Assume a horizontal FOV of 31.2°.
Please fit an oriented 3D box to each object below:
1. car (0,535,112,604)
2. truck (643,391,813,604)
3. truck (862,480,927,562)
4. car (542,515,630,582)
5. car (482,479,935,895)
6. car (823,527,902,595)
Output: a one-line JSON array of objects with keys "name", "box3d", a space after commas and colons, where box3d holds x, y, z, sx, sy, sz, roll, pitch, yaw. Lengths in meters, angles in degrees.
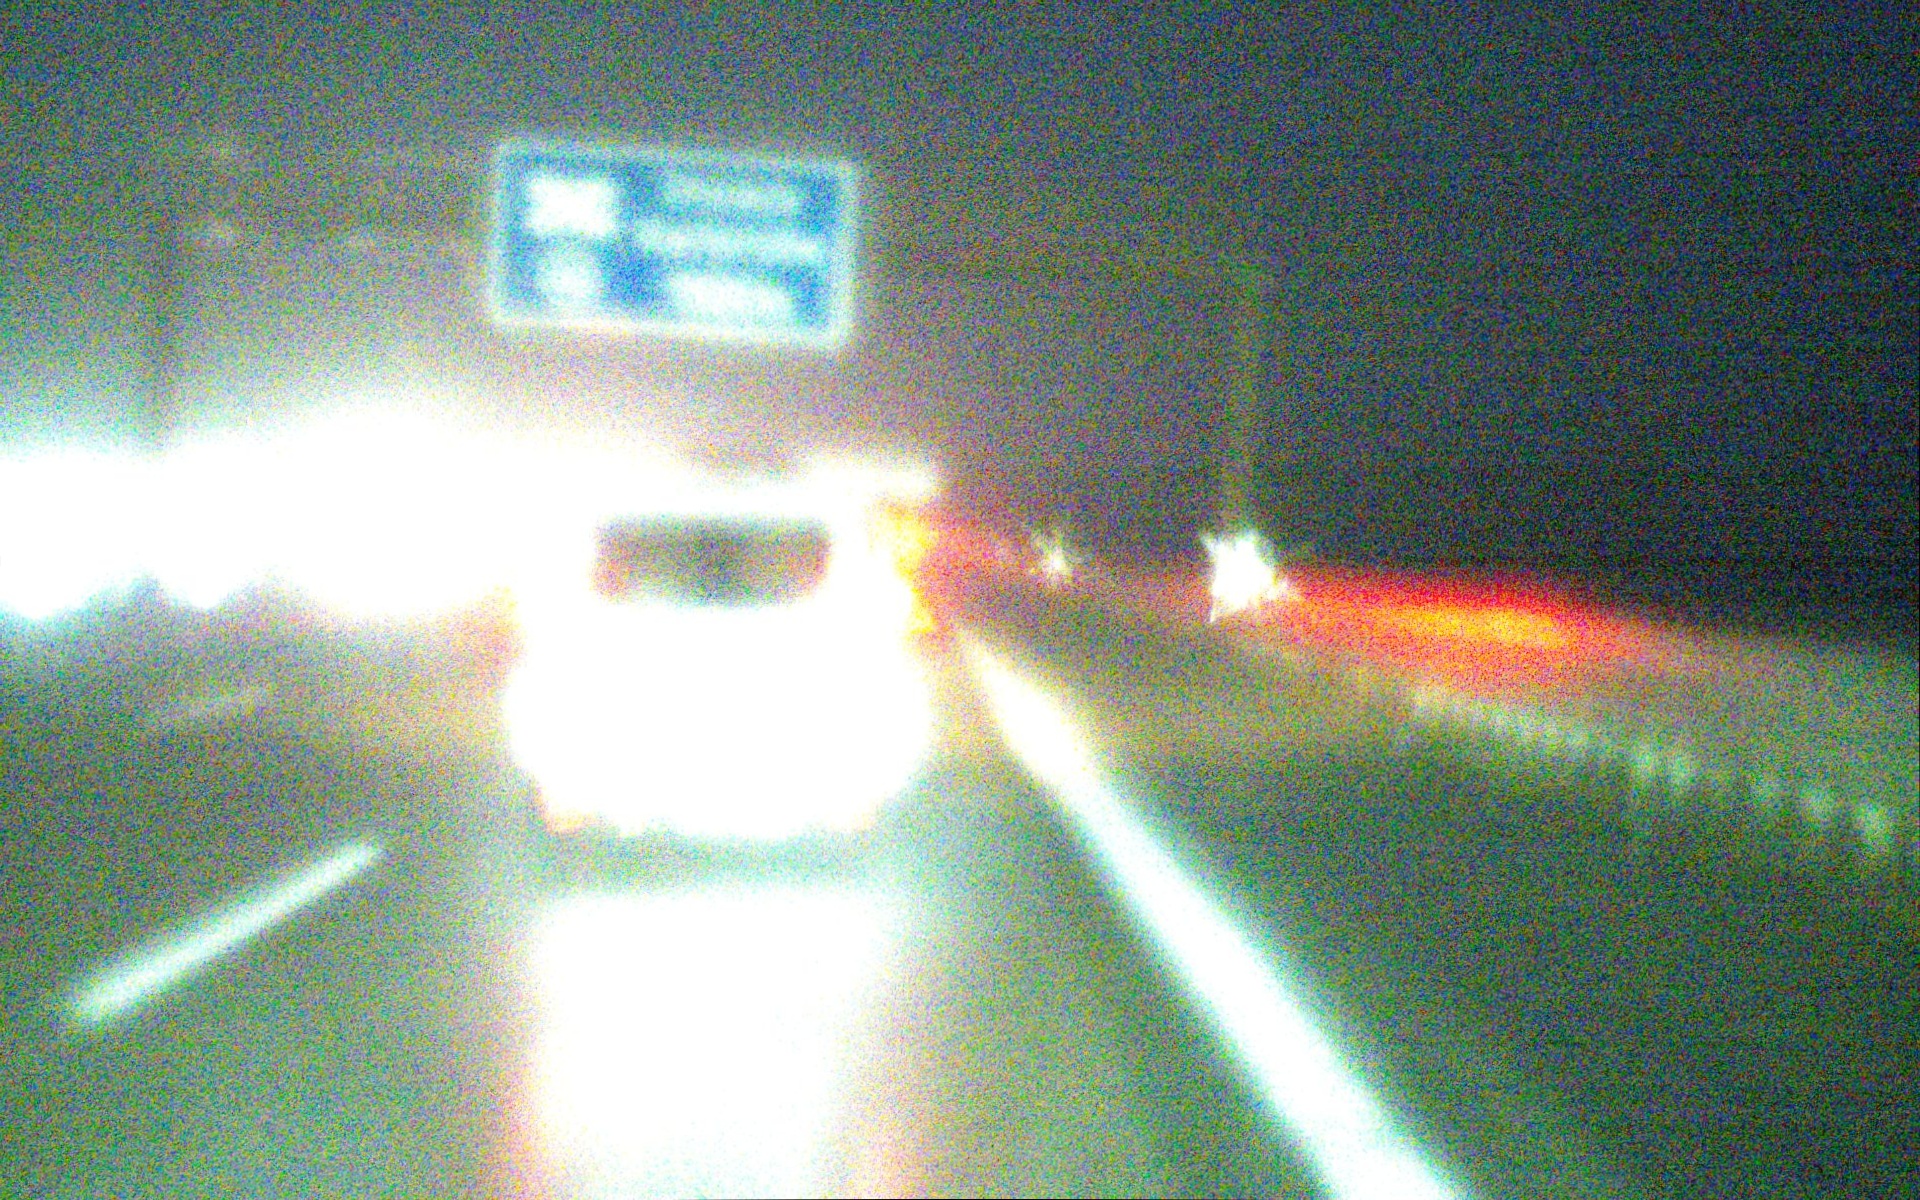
[{"name": "car", "box3d": [-21.569, -0.745, 80.848, 1.971, 1.459, 5.370, 3, 1, -2]}, {"name": "truck", "box3d": [-6.451, -2.817, 97.816, 4.167, 5.525, 13.075, 2, 1, -2]}, {"name": "truck", "box3d": [-4.221, -4.966, 218.357, 3.823, 4.898, 11.607, 2, 1, -2]}, {"name": "car", "box3d": [-10.779, -1.504, 99.356, 1.993, 1.701, 4.196, 6, 1, -2]}, {"name": "car", "box3d": [-1.177, 0.351, 17.783, 1.953, 1.786, 5.125, 2, 1, -1]}, {"name": "car", "box3d": [-2.587, -1.030, 90.647, 1.993, 1.701, 4.196, 2, 1, -2]}]
